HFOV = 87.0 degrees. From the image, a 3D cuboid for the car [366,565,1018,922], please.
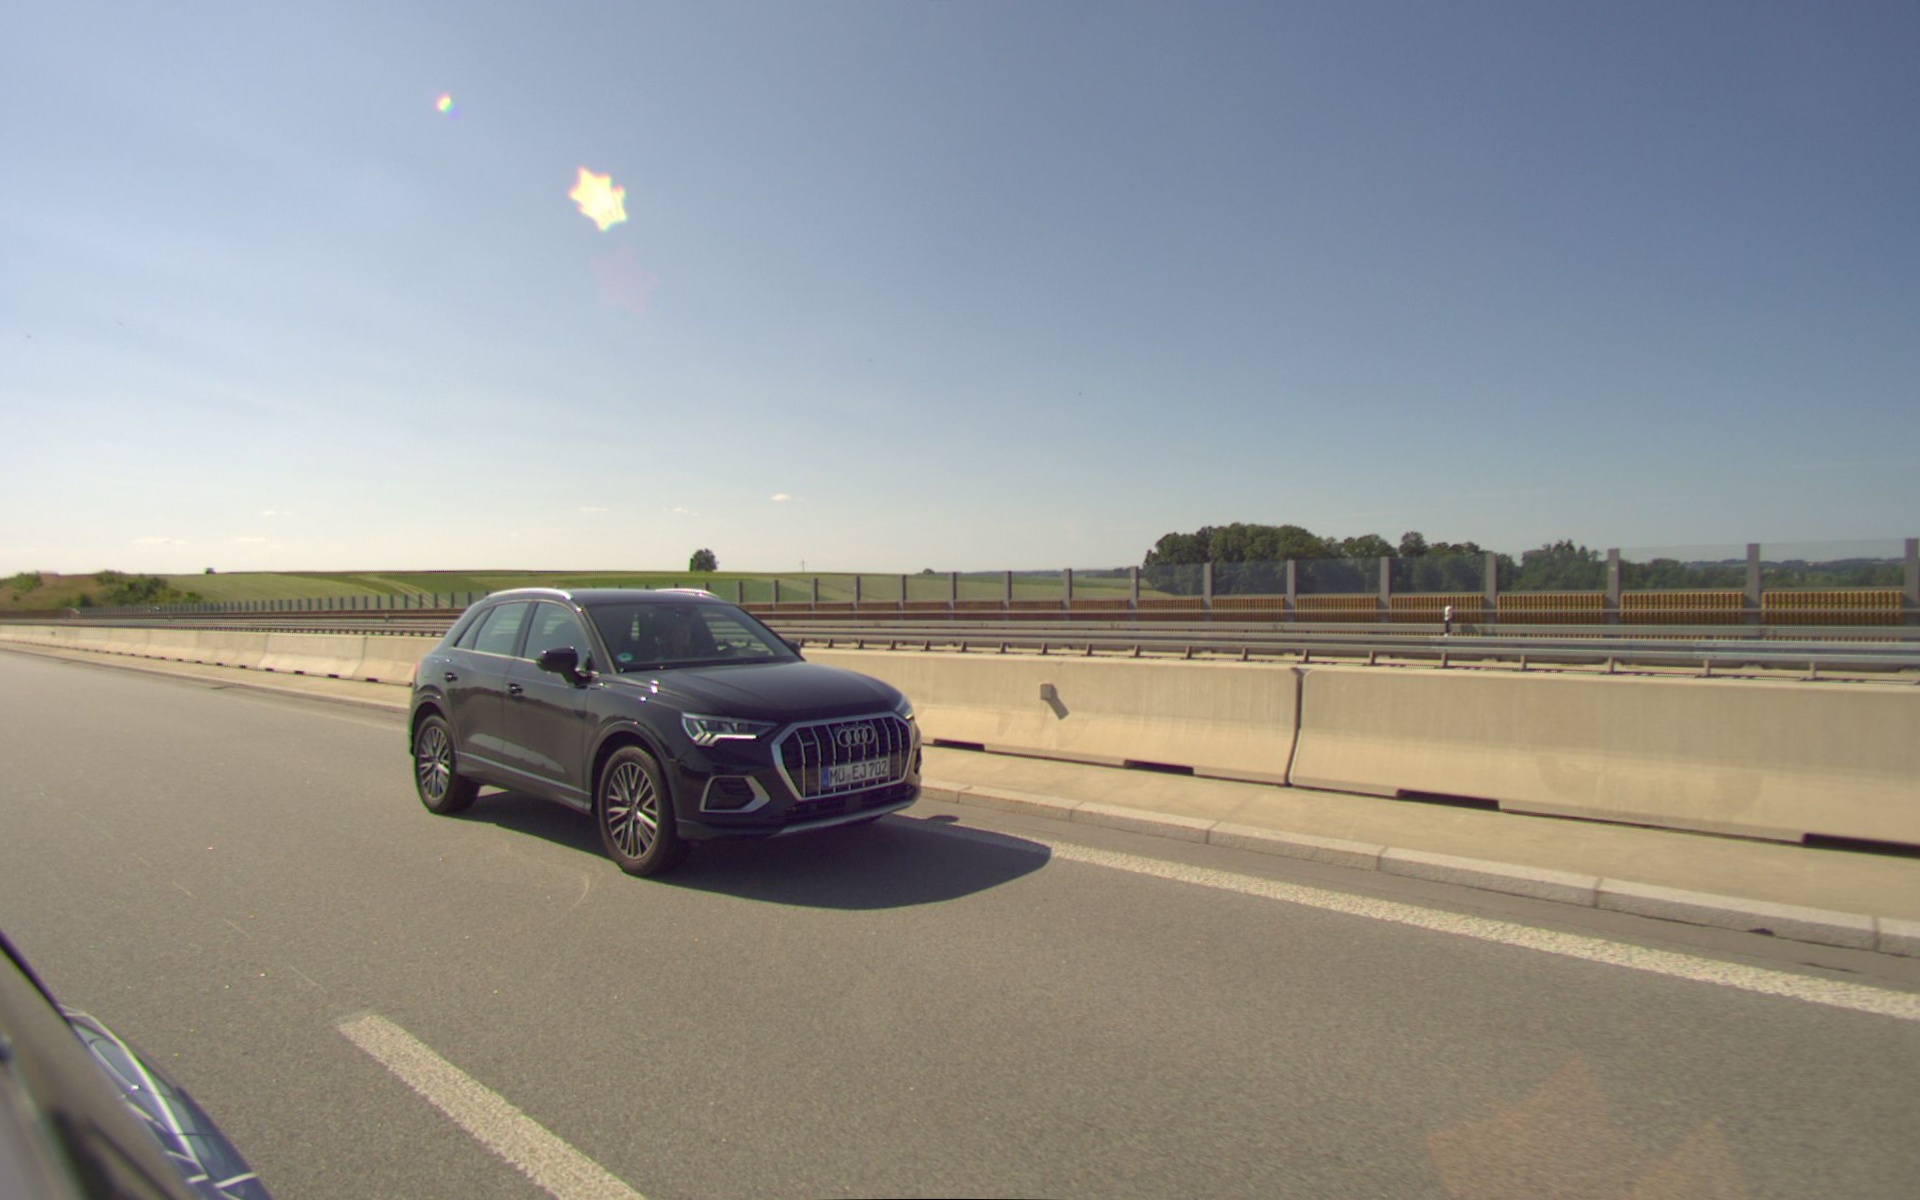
[{"bbox_3d":[-2.182,0.667,6.915,5.220,1.599,1.704,-1,0,41],"label":"car"}]
